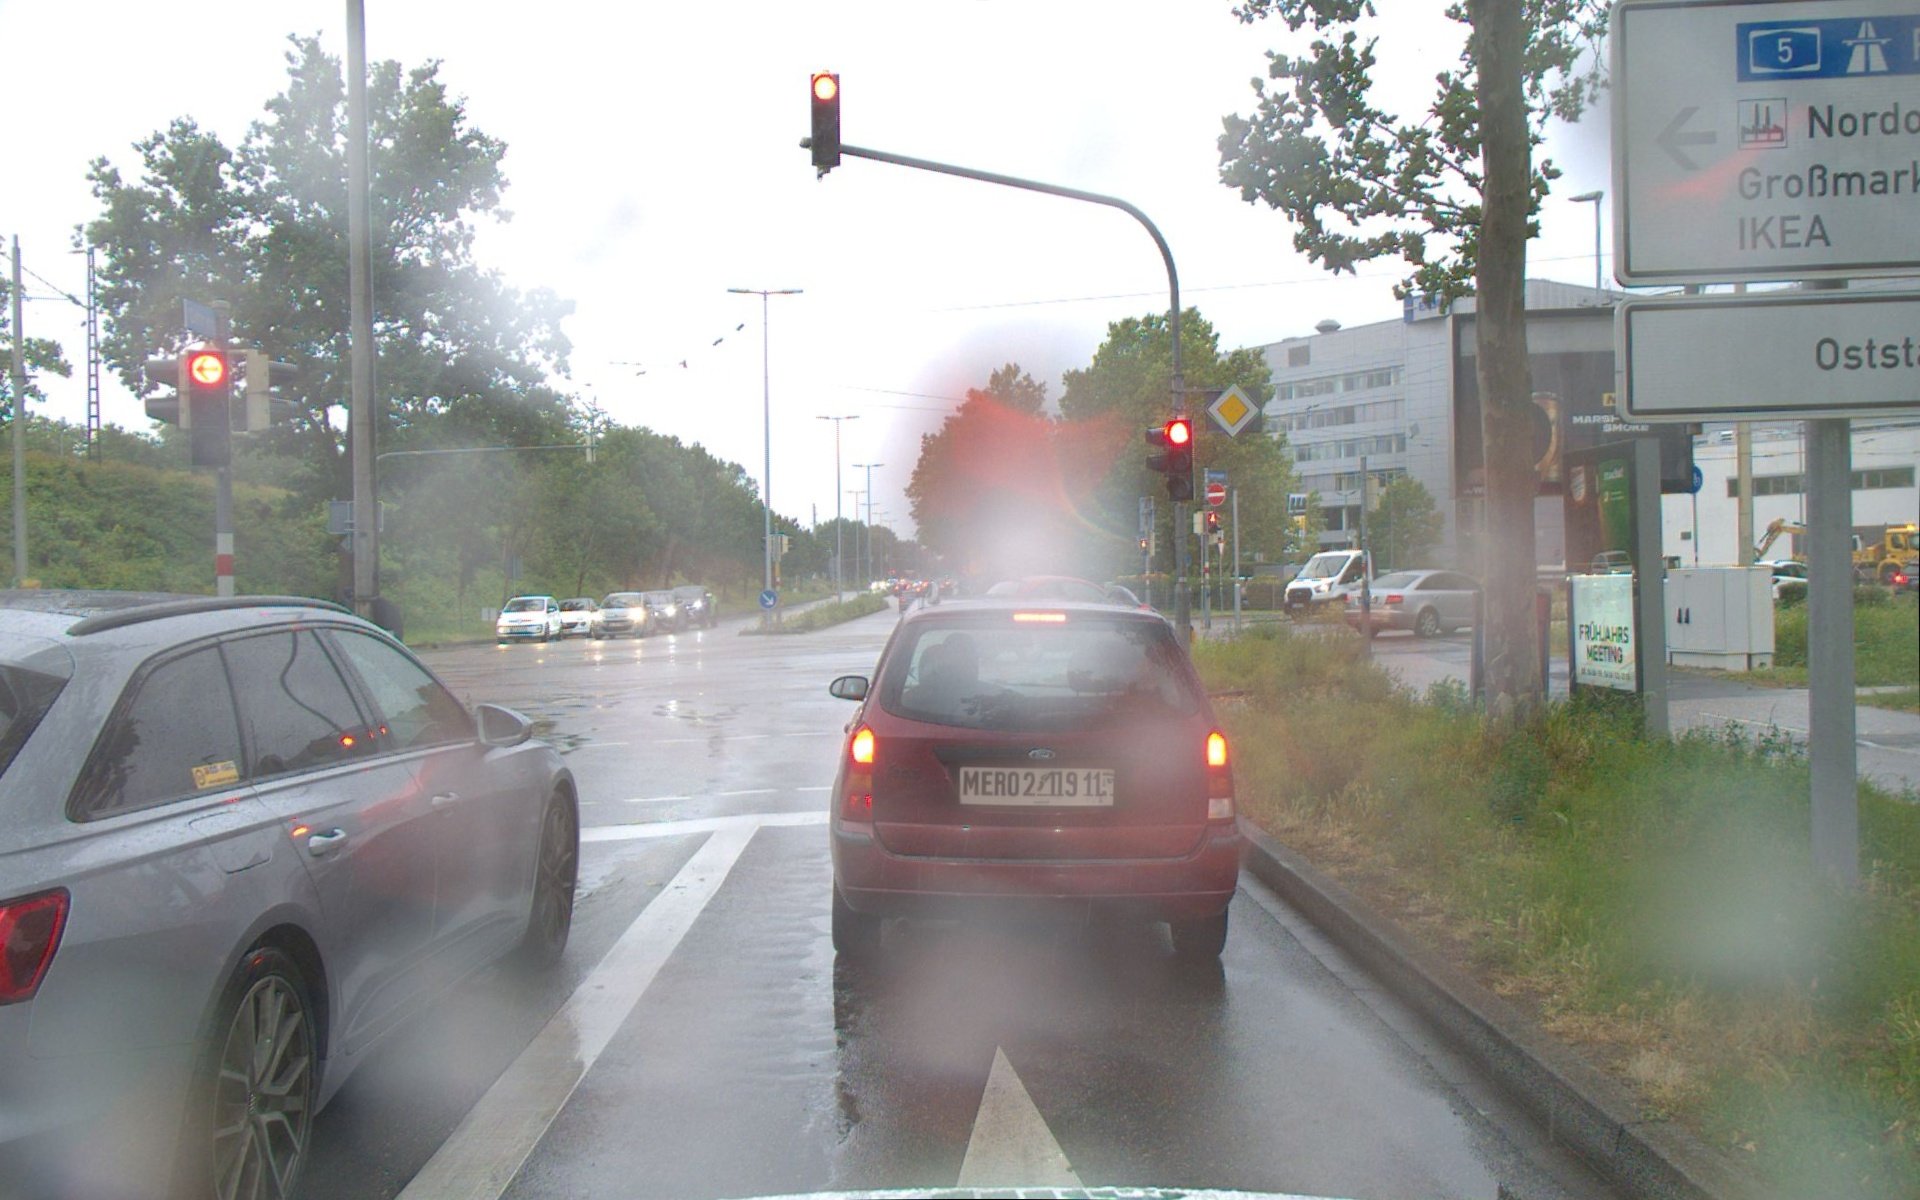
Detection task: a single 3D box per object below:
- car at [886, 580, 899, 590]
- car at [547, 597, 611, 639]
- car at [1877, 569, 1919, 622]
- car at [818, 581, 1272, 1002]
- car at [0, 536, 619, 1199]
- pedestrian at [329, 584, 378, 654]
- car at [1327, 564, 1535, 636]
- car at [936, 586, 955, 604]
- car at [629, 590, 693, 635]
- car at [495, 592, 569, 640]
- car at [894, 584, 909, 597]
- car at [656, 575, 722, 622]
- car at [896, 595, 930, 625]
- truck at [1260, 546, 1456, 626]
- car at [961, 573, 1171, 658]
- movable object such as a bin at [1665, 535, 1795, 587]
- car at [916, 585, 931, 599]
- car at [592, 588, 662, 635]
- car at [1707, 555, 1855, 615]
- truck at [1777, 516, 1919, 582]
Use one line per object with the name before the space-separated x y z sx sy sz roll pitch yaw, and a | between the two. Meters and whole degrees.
car | -10.010 -2.205 244.731 1.663 1.554 3.846 -1 0 1
car | -14.072 0.630 61.215 1.558 1.428 3.822 -2 1 -2
car | 31.006 -0.168 52.257 4.577 1.614 1.901 -1 0 -38
car | 0.252 0.673 7.798 1.609 1.490 3.731 1 0 -2
car | -2.301 0.669 4.808 1.733 1.601 4.819 1 0 -2
pedestrian | -16.658 0.504 45.438 1.083 1.879 1.127 -1 0 -13
car | 10.660 -0.019 37.303 4.771 1.517 1.905 -1 0 -34
car | -1.293 -0.465 150.924 1.636 1.554 3.846 -1 0 1
car | -11.360 0.458 63.107 1.727 1.614 4.811 -2 0 -2
car | -14.171 0.489 54.887 1.605 1.478 3.785 -2 1 -3
car | -7.141 -1.186 201.997 1.663 1.554 3.846 -1 0 1
car | -11.613 -0.084 71.212 2.024 1.851 5.539 -2 1 -2
car | -3.026 0.651 104.795 1.954 1.822 3.996 1 0 -4
truck | 12.779 -0.478 52.835 6.798 2.406 2.448 -1 0 -38
car | 2.034 0.271 31.376 3.769 1.517 1.659 0 0 -33
movable object such as a bin | 48.339 -2.423 103.979 3.292 3.048 6.634 -2 0 -36
car | -4.233 -0.908 193.388 1.663 1.554 3.846 -1 0 0
car | -11.236 0.365 55.977 1.605 1.499 3.964 -2 1 -1
car | 23.282 -0.425 46.862 4.575 1.614 1.902 -1 0 -37
truck | 52.793 -2.949 97.367 3.292 3.568 7.789 -2 0 -36
